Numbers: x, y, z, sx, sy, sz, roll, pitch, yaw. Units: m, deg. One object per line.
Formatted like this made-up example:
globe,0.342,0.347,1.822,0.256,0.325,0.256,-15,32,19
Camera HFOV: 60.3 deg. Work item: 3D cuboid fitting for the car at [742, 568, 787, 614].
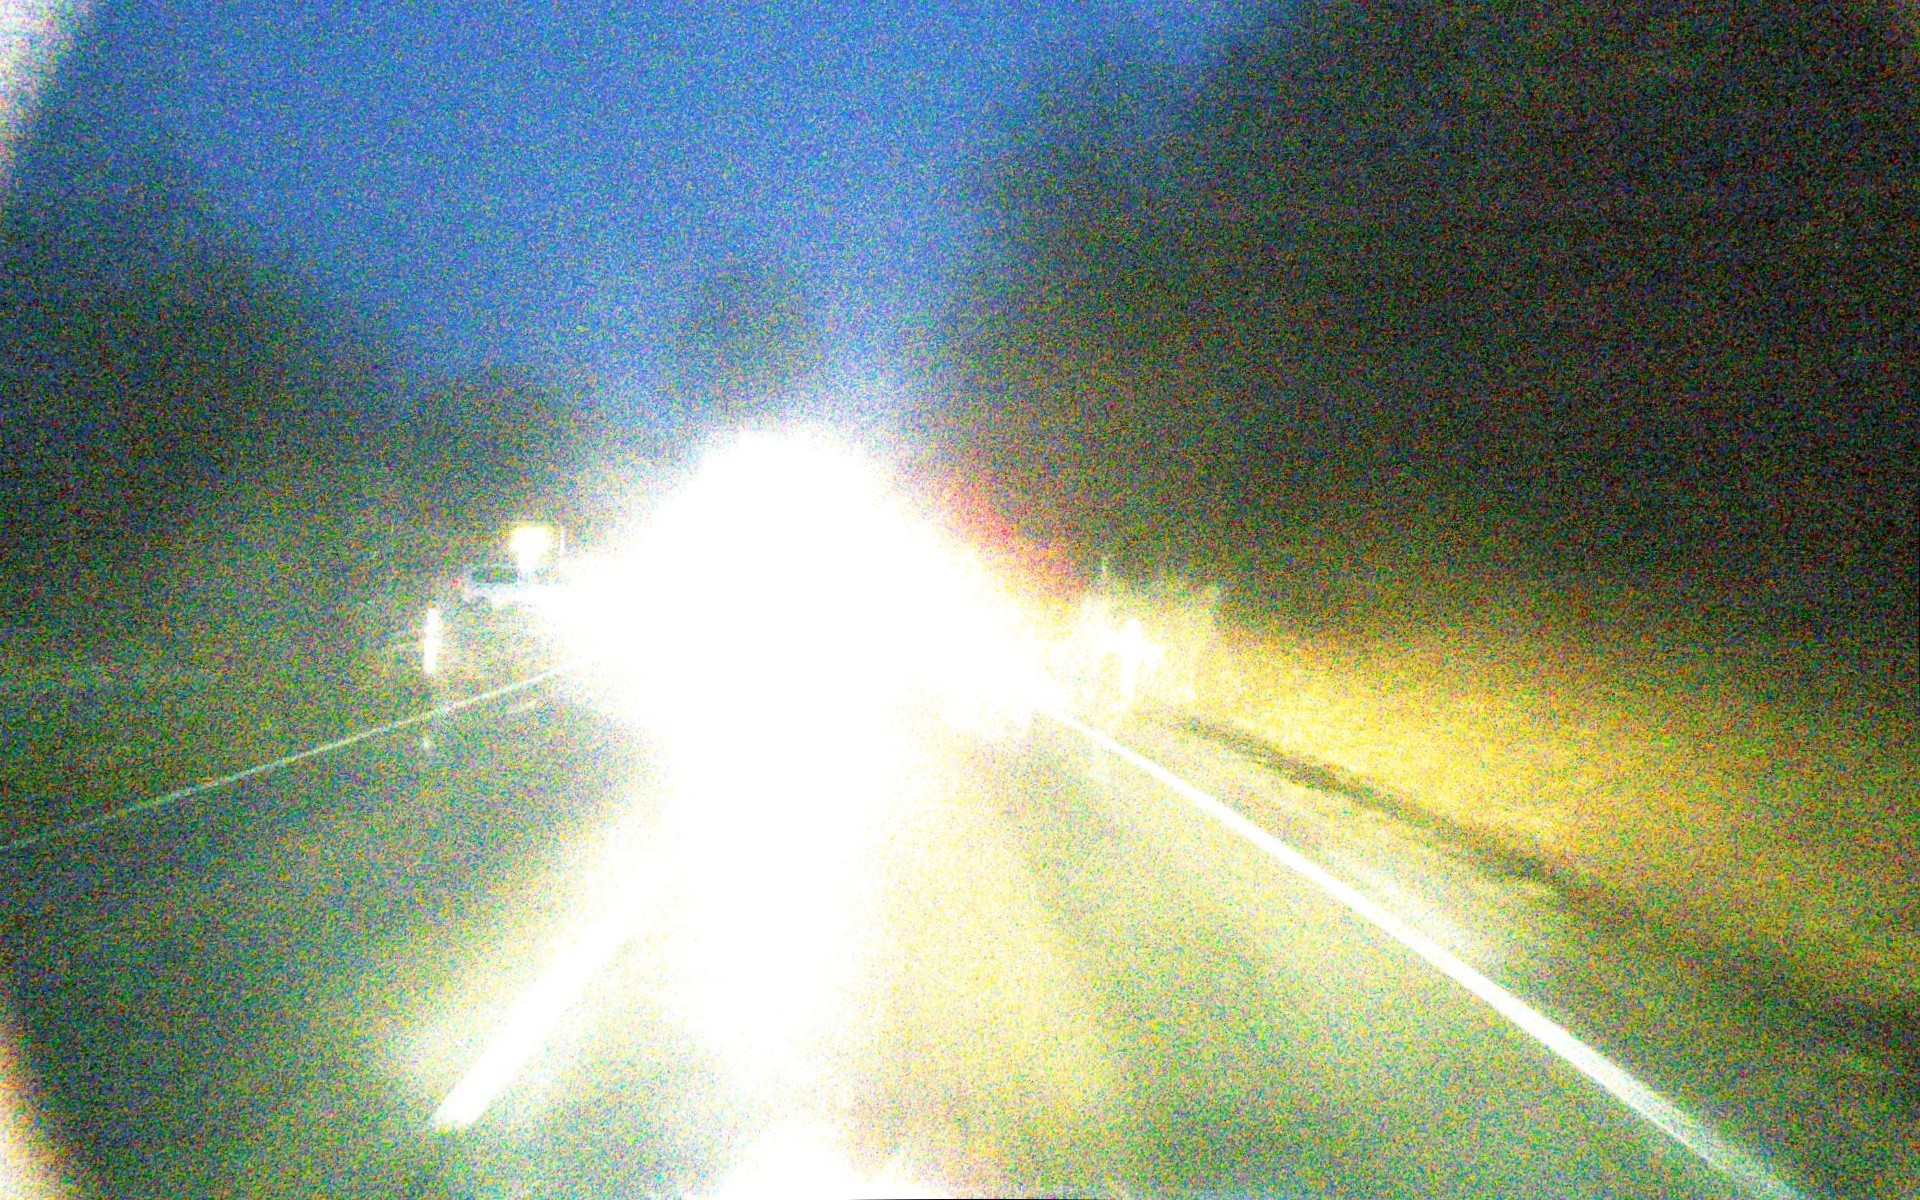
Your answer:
car,-8.234,-0.387,69.929,1.720,1.764,3.995,3,1,-6

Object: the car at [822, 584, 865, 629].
car,-4.974,0.309,70.709,1.706,1.744,3.696,3,-2,-4

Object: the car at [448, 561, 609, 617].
car,-13.969,-0.355,53.762,4.819,1.765,1.997,0,1,-8

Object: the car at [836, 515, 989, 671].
car,-0.984,-0.150,29.863,2.489,2.541,5.709,0,1,-4

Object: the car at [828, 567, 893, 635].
car,-3.358,0.069,55.217,1.955,2.049,3.995,3,-2,-5

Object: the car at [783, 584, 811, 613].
car,-11.836,-0.106,120.245,1.855,1.943,3.790,3,-1,-7
